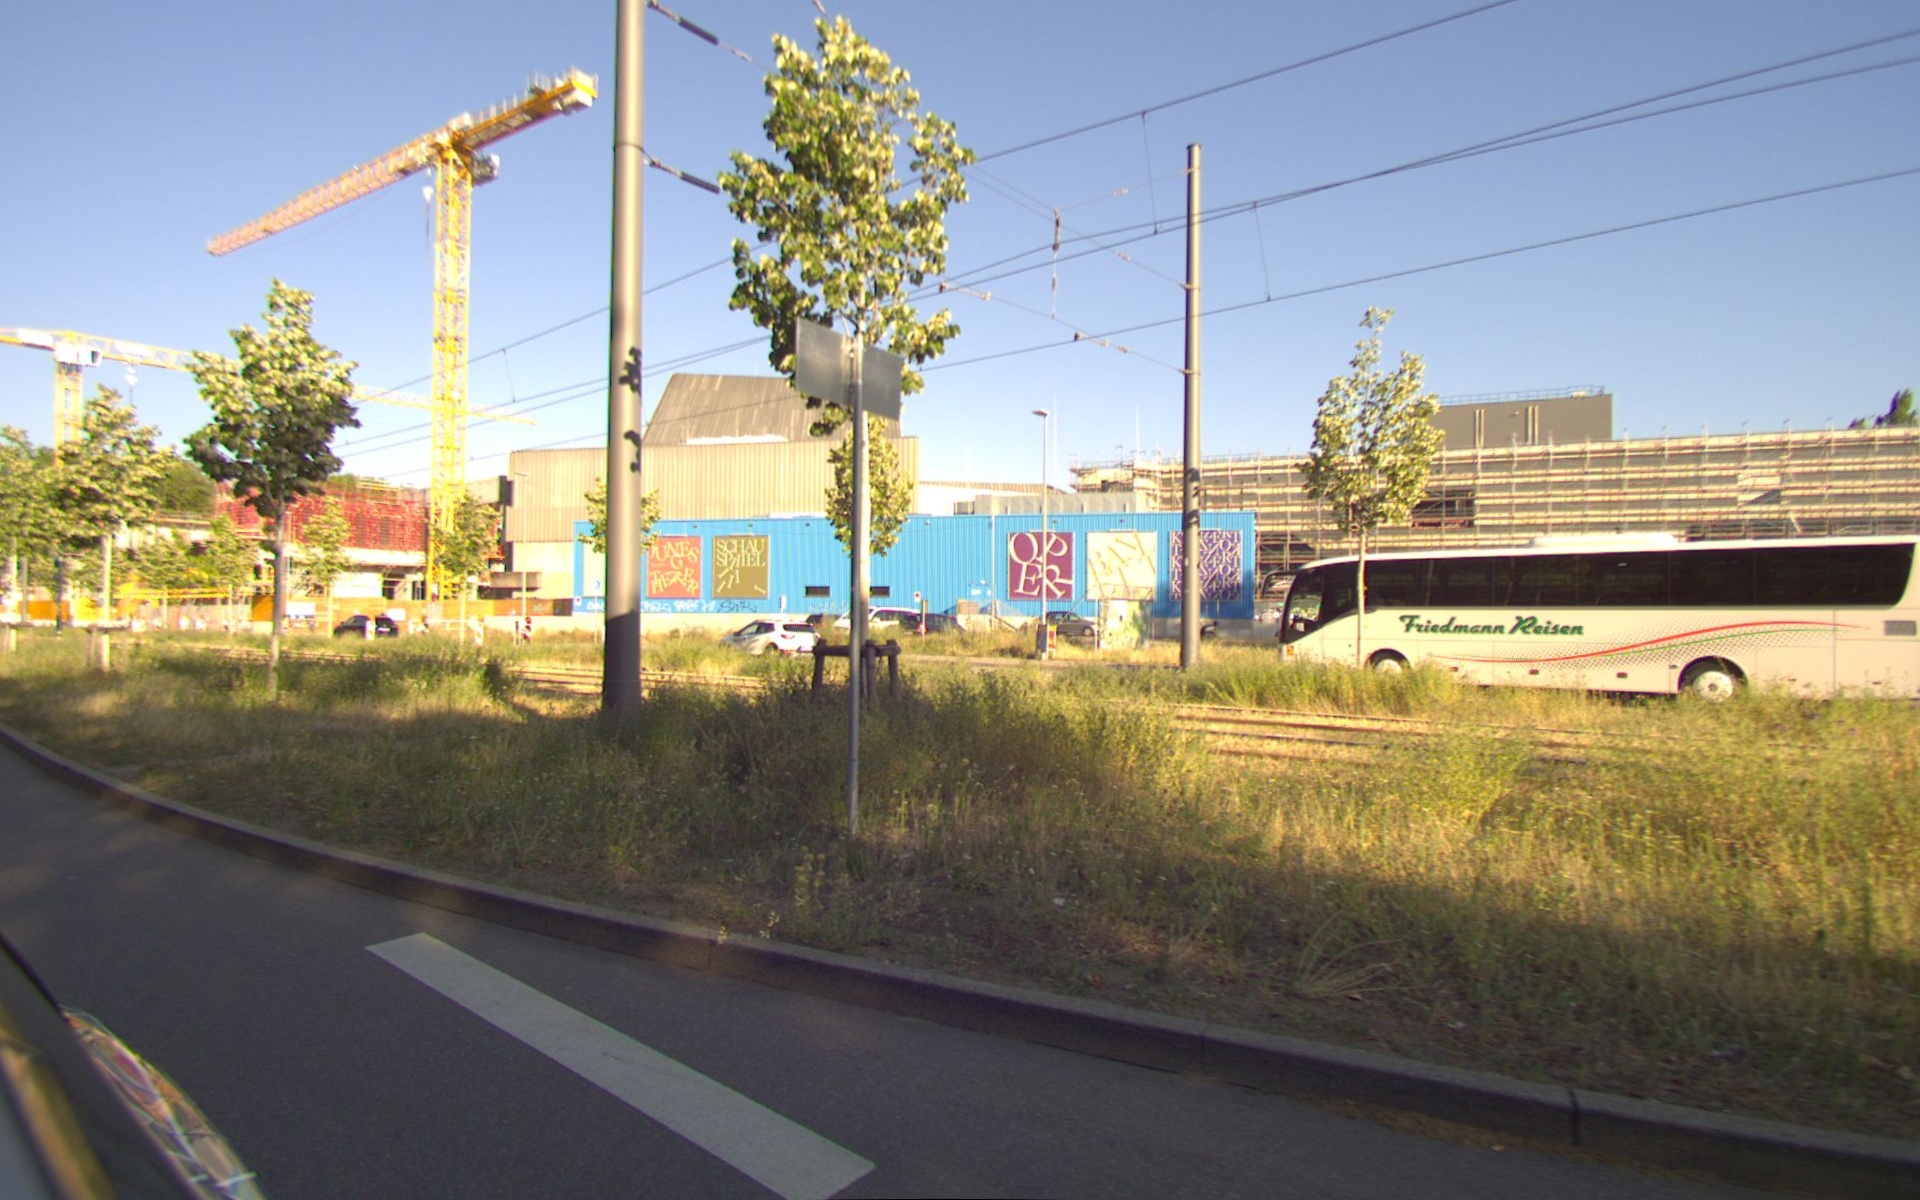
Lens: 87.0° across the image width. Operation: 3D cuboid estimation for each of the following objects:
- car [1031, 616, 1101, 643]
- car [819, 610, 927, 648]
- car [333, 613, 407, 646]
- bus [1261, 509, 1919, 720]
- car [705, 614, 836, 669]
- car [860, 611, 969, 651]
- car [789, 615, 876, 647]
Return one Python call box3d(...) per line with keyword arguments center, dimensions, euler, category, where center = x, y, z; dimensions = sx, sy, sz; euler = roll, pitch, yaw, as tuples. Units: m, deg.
box3d(center=(6.578, 1.814, 62.821), dimensions=(4.186, 1.648, 1.405), euler=(0, -1, 16), category="car")
box3d(center=(-4.054, 1.361, 48.064), dimensions=(2.123, 1.730, 5.175), euler=(-1, -2, 39), category="car")
box3d(center=(-30.849, 1.507, 52.893), dimensions=(4.267, 1.663, 1.974), euler=(-1, -2, 40), category="car")
box3d(center=(13.173, 0.333, 22.083), dimensions=(12.690, 3.622, 2.770), euler=(-1, -2, 41), category="bus")
box3d(center=(-6.148, 1.304, 32.619), dimensions=(4.164, 1.655, 1.973), euler=(-1, -2, 40), category="car")
box3d(center=(-2.003, 1.387, 46.187), dimensions=(2.123, 1.730, 5.175), euler=(-1, -2, 39), category="car")
box3d(center=(-6.180, 1.519, 49.374), dimensions=(1.998, 1.496, 3.947), euler=(-1, -2, 39), category="car")
